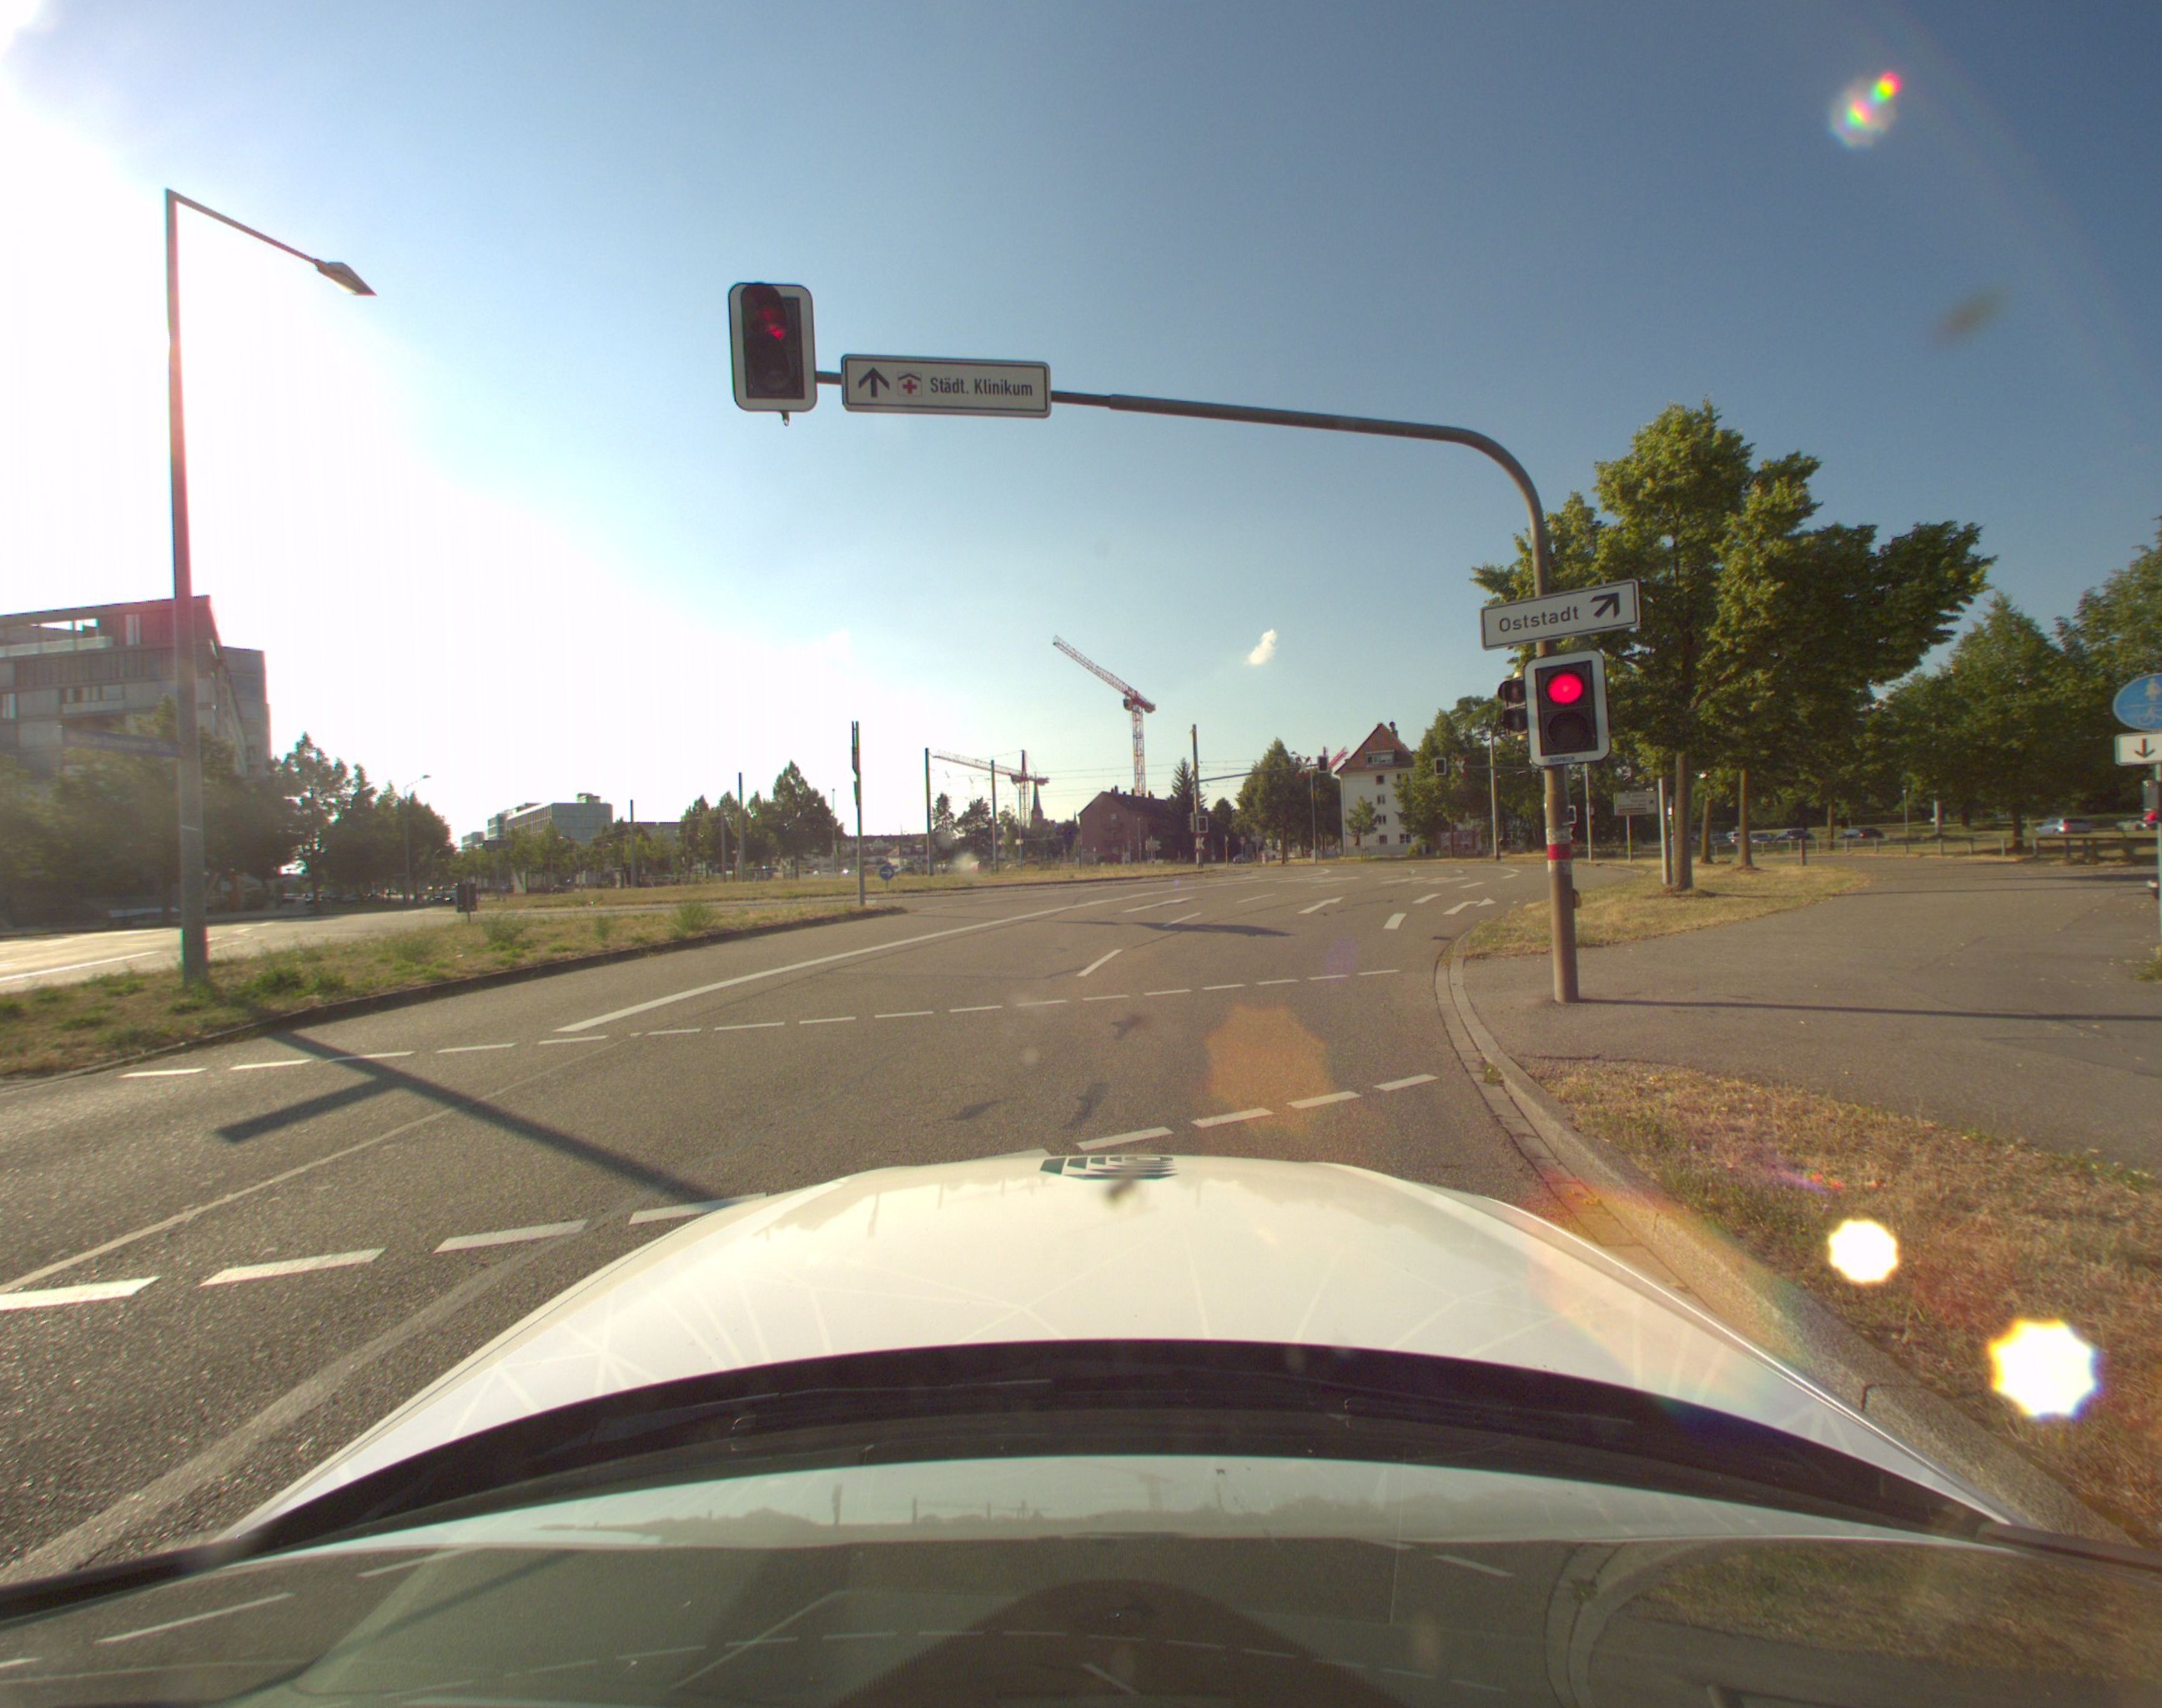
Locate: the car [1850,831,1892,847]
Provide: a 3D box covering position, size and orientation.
[{"bbox_3d":[67.135,-1.253,69.267,1.586,1.310,3.993,-3,-1,30],"label":"car"}]

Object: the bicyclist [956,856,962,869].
[{"bbox_3d":[-14.433,0.985,96.466,0.621,1.511,0.418,-2,0,-4],"label":"bicyclist"}]

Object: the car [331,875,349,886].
[{"bbox_3d":[-110.399,3.901,121.245,1.800,1.556,3.950,0,-1,-45],"label":"car"}]

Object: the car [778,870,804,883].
[{"bbox_3d":[-47.053,3.676,132.299,3.948,2.013,2.013,-3,0,36],"label":"car"}]

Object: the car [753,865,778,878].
[{"bbox_3d":[-53.265,2.961,137.596,3.948,2.013,2.013,-3,0,36],"label":"car"}]

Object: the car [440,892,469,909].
[{"bbox_3d":[-63.990,4.722,83.165,2.011,1.475,3.952,-2,0,-42],"label":"car"}]

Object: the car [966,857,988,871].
[{"bbox_3d":[-14.914,1.465,116.780,1.930,1.854,3.965,-2,0,-27],"label":"car"}]

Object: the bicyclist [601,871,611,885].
[{"bbox_3d":[-47.377,2.383,81.212,0.658,1.325,0.512,-2,0,-45],"label":"bicyclist"}]

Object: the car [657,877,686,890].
[{"bbox_3d":[-44.005,3.133,87.568,2.683,1.261,1.103,-2,0,-31],"label":"car"}]

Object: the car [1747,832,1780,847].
[{"bbox_3d":[61.370,-1.269,73.264,1.586,1.221,3.993,-3,-1,30],"label":"car"}]

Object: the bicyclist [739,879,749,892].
[{"bbox_3d":[-37.657,3.504,90.907,0.958,1.357,0.688,-2,0,-25],"label":"bicyclist"}]

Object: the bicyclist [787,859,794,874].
[{"bbox_3d":[-33.202,1.407,93.132,0.609,1.672,0.474,-2,-1,-25],"label":"bicyclist"}]

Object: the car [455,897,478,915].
[{"bbox_3d":[-58.551,4.947,77.596,1.493,1.475,3.260,-2,0,-42],"label":"car"}]

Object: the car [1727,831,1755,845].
[{"bbox_3d":[67.092,-1.611,82.866,1.586,1.402,3.993,-3,-1,30],"label":"car"}]

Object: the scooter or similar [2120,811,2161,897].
[{"bbox_3d":[15.385,-0.021,11.590,1.172,1.160,0.340,-4,-3,-23],"label":"scooter or similar"}]

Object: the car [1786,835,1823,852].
[{"bbox_3d":[63.387,-0.923,71.397,1.586,1.402,3.993,-3,-1,30],"label":"car"}]

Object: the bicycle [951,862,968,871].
[{"bbox_3d":[-14.365,1.481,96.467,1.983,0.918,0.429,-2,0,-4],"label":"bicycle"}]

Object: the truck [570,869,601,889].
[{"bbox_3d":[-88.454,4.507,145.409,3.156,3.231,7.085,-2,0,-44],"label":"truck"}]

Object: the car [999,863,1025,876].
[{"bbox_3d":[-11.262,2.576,132.990,3.776,2.014,1.680,-3,-1,20],"label":"car"}]

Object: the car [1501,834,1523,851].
[{"bbox_3d":[43.003,-1.125,81.222,1.754,1.618,3.993,-3,-1,30],"label":"car"}]

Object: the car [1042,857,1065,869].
[{"bbox_3d":[-5.014,1.708,149.431,3.776,2.014,1.680,-3,-1,20],"label":"car"}]

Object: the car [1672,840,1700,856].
[{"bbox_3d":[56.160,-0.574,75.605,1.586,1.402,3.993,-3,-1,30],"label":"car"}]

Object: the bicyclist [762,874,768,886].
[{"bbox_3d":[-35.740,2.919,92.088,0.654,1.325,0.515,-2,0,-20],"label":"bicyclist"}]

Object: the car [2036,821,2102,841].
[{"bbox_3d":[78.182,-1.823,64.514,1.804,1.403,4.023,-3,-1,26],"label":"car"}]

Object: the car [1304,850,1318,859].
[{"bbox_3d":[47.182,0.165,167.106,1.975,1.780,4.023,-1,-1,26],"label":"car"}]

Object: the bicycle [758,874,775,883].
[{"bbox_3d":[-34.718,2.735,89.914,1.622,0.860,0.541,-2,0,-24],"label":"bicycle"}]

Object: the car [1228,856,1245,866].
[{"bbox_3d":[22.973,1.079,120.533,1.441,1.300,3.570,-3,0,28],"label":"car"}]

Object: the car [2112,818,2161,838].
[{"bbox_3d":[82.511,-2.048,62.997,1.804,1.403,4.023,-3,-1,26],"label":"car"}]

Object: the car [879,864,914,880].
[{"bbox_3d":[-24.154,2.371,106.438,4.013,1.816,1.981,-2,0,-30],"label":"car"}]

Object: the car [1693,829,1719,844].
[{"bbox_3d":[64.432,-1.825,84.018,1.586,1.402,3.993,-3,-1,30],"label":"car"}]

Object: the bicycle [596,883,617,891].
[{"bbox_3d":[-47.302,3.296,81.227,0.474,0.744,1.732,-3,0,45],"label":"bicycle"}]

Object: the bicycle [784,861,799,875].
[{"bbox_3d":[-33.127,1.612,93.149,1.547,1.473,0.475,-2,0,-25],"label":"bicycle"}]

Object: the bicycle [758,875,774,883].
[{"bbox_3d":[-35.611,2.817,92.101,1.721,0.744,0.477,-2,0,-19],"label":"bicycle"}]

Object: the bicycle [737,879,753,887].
[{"bbox_3d":[-37.529,3.218,90.926,1.622,0.860,0.541,-2,0,-24],"label":"bicycle"}]
